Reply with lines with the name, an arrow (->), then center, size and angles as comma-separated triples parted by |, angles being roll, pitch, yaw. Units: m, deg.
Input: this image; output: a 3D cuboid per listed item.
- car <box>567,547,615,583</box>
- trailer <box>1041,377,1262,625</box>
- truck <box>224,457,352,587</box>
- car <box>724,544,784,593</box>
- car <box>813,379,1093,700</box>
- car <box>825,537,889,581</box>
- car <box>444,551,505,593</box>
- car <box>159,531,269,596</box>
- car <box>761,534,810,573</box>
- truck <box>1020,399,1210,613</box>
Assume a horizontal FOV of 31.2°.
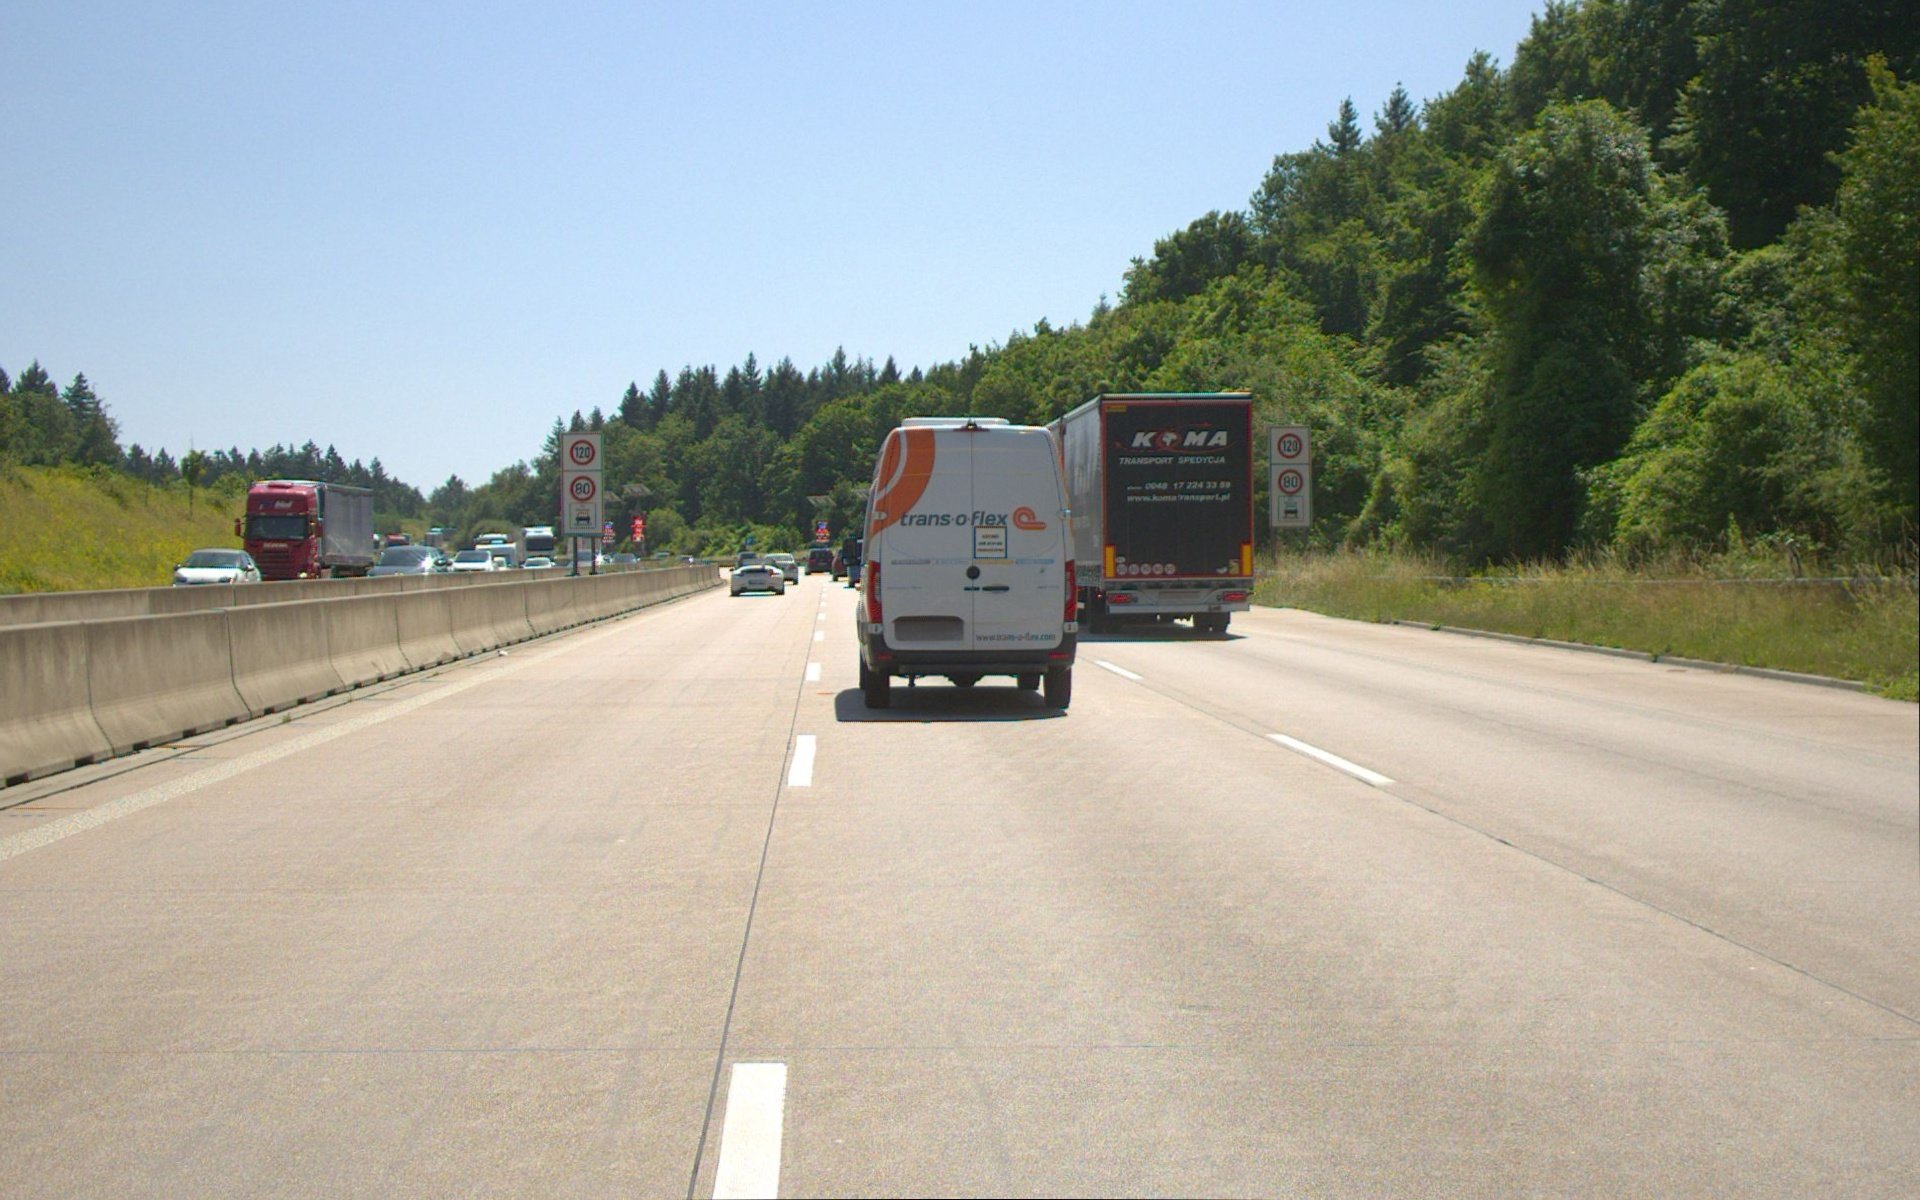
car -> -17.765, -1.705, 165.563 | 1.993, 1.686, 4.372 | 0, 1, -2
trailer -> 3.252, -1.698, 61.023 | 3.134, 4.003, 9.089 | -1, 1, -1
truck -> -23.702, -2.701, 121.546 | 3.386, 4.416, 6.801 | 1, 0, -2
car -> -7.125, -1.084, 119.238 | 1.993, 1.678, 4.000 | 1, 0, -2
car -> -0.176, -0.609, 33.551 | 2.226, 2.834, 5.455 | -1, 1, -5
car -> -4.104, -1.611, 136.396 | 1.993, 1.678, 4.001 | 0, 0, -10
car -> -19.828, -1.149, 140.532 | 1.993, 1.686, 4.817 | 0, 1, -2
car -> -18.540, -0.909, 85.571 | 1.993, 1.558, 4.000 | 1, 1, -2
car -> -7.882, -2.077, 154.790 | 1.993, 1.678, 4.001 | 0, 0, -6
truck -> 3.052, -1.864, 70.870 | 3.159, 4.003, 10.608 | -1, 1, -1
